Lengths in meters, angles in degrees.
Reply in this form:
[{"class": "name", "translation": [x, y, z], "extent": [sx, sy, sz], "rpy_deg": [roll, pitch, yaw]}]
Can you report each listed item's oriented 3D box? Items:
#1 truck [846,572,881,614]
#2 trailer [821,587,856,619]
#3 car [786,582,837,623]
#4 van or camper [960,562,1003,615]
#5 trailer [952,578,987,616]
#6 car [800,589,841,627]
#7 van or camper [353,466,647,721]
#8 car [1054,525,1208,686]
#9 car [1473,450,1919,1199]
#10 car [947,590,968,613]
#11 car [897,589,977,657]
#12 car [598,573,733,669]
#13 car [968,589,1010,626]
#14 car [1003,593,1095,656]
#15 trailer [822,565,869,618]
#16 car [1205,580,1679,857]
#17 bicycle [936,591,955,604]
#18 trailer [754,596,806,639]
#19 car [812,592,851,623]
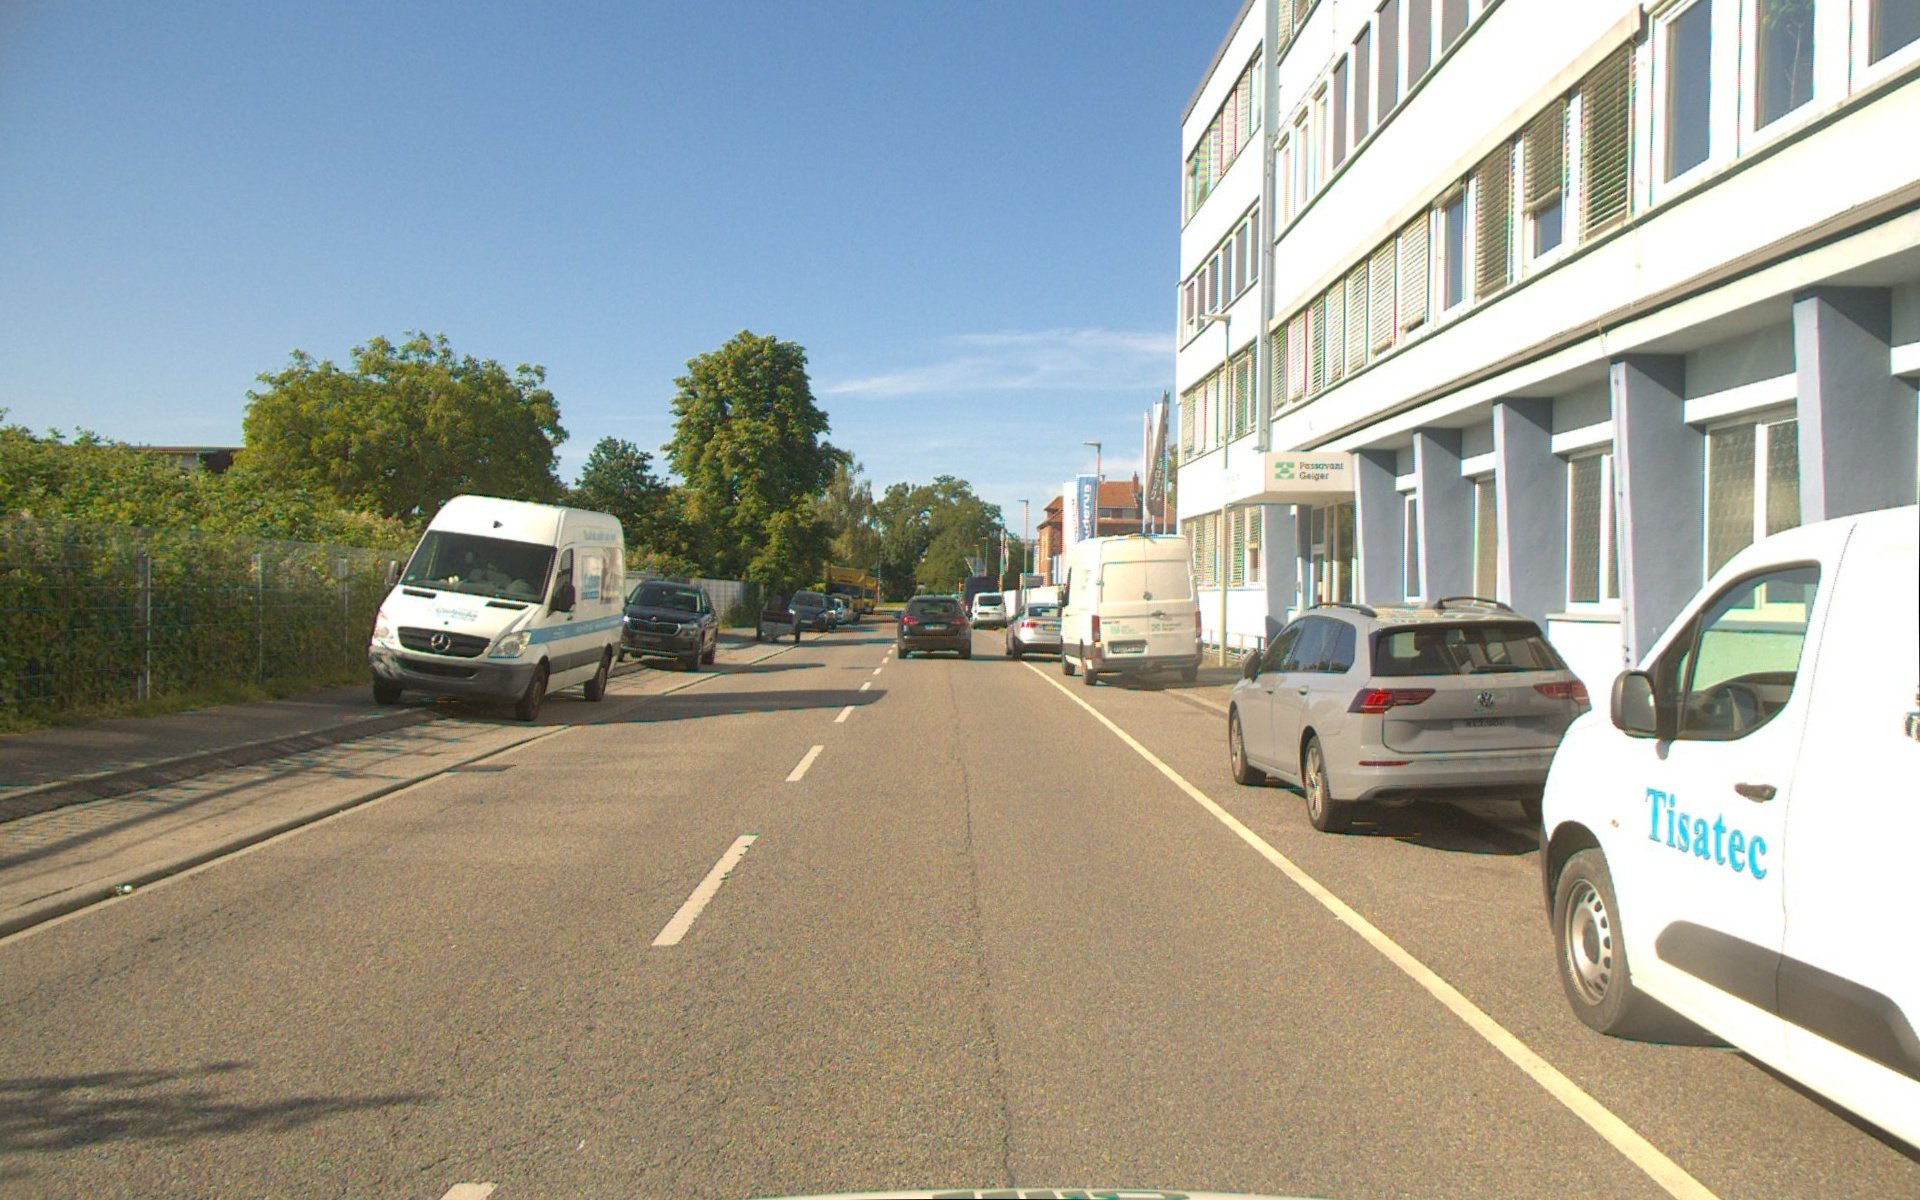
[{"class": "truck", "translation": [-9.210, -0.756, 158.629], "extent": [2.579, 3.564, 8.656], "rpy_deg": [7, 1, -1]}, {"class": "trailer", "translation": [-7.636, 0.206, 104.153], "extent": [1.953, 1.975, 4.414], "rpy_deg": [0, 0, -1]}, {"class": "car", "translation": [-6.619, 0.082, 74.092], "extent": [1.755, 1.761, 4.802], "rpy_deg": [0, 0, 1]}, {"class": "van or camper", "translation": [1.174, -0.622, 92.700], "extent": [2.097, 2.807, 6.159], "rpy_deg": [2, 0, -1]}, {"class": "trailer", "translation": [0.681, -0.240, 122.709], "extent": [2.410, 2.719, 5.700], "rpy_deg": [1, 0, -1]}, {"class": "car", "translation": [-7.116, 0.387, 84.864], "extent": [1.871, 1.691, 4.460], "rpy_deg": [5, 0, -4]}, {"class": "van or camper", "translation": [-5.822, -0.097, 21.884], "extent": [1.926, 2.731, 5.948], "rpy_deg": [6, 0, 1]}, {"class": "car", "translation": [3.028, 0.025, 30.551], "extent": [1.953, 2.643, 6.049], "rpy_deg": [-1, 1, -2]}, {"class": "car", "translation": [3.122, 0.604, 4.536], "extent": [1.850, 1.864, 5.090], "rpy_deg": [1, 0, 0]}, {"class": "car", "translation": [-0.258, 0.143, 152.737], "extent": [1.836, 2.049, 5.159], "rpy_deg": [2, 0, -1]}, {"class": "car", "translation": [-0.536, 0.513, 39.784], "extent": [1.809, 1.557, 4.000], "rpy_deg": [0, 0, 0]}, {"class": "car", "translation": [-6.087, 0.389, 34.784], "extent": [1.990, 1.723, 5.104], "rpy_deg": [5, 0, -3]}, {"class": "car", "translation": [1.486, 0.389, 86.259], "extent": [1.848, 1.829, 5.101], "rpy_deg": [2, 0, -2]}, {"class": "car", "translation": [2.185, 0.589, 41.922], "extent": [1.856, 1.430, 5.122], "rpy_deg": [2, 0, -2]}, {"class": "trailer", "translation": [-7.912, -0.548, 115.057], "extent": [2.931, 3.503, 8.157], "rpy_deg": [1, 0, -2]}, {"class": "car", "translation": [3.213, 0.690, 12.249], "extent": [1.851, 1.588, 5.088], "rpy_deg": [1, 0, -2]}, {"class": "bicycle", "translation": [-1.459, -0.265, 169.784], "extent": [0.797, 1.290, 2.230], "rpy_deg": [3, -1, -36]}, {"class": "trailer", "translation": [-6.073, 0.581, 56.013], "extent": [1.447, 1.378, 3.078], "rpy_deg": [2, 0, -1]}, {"class": "car", "translation": [-7.600, 0.449, 98.226], "extent": [1.869, 1.620, 5.024], "rpy_deg": [5, 0, 0]}]
